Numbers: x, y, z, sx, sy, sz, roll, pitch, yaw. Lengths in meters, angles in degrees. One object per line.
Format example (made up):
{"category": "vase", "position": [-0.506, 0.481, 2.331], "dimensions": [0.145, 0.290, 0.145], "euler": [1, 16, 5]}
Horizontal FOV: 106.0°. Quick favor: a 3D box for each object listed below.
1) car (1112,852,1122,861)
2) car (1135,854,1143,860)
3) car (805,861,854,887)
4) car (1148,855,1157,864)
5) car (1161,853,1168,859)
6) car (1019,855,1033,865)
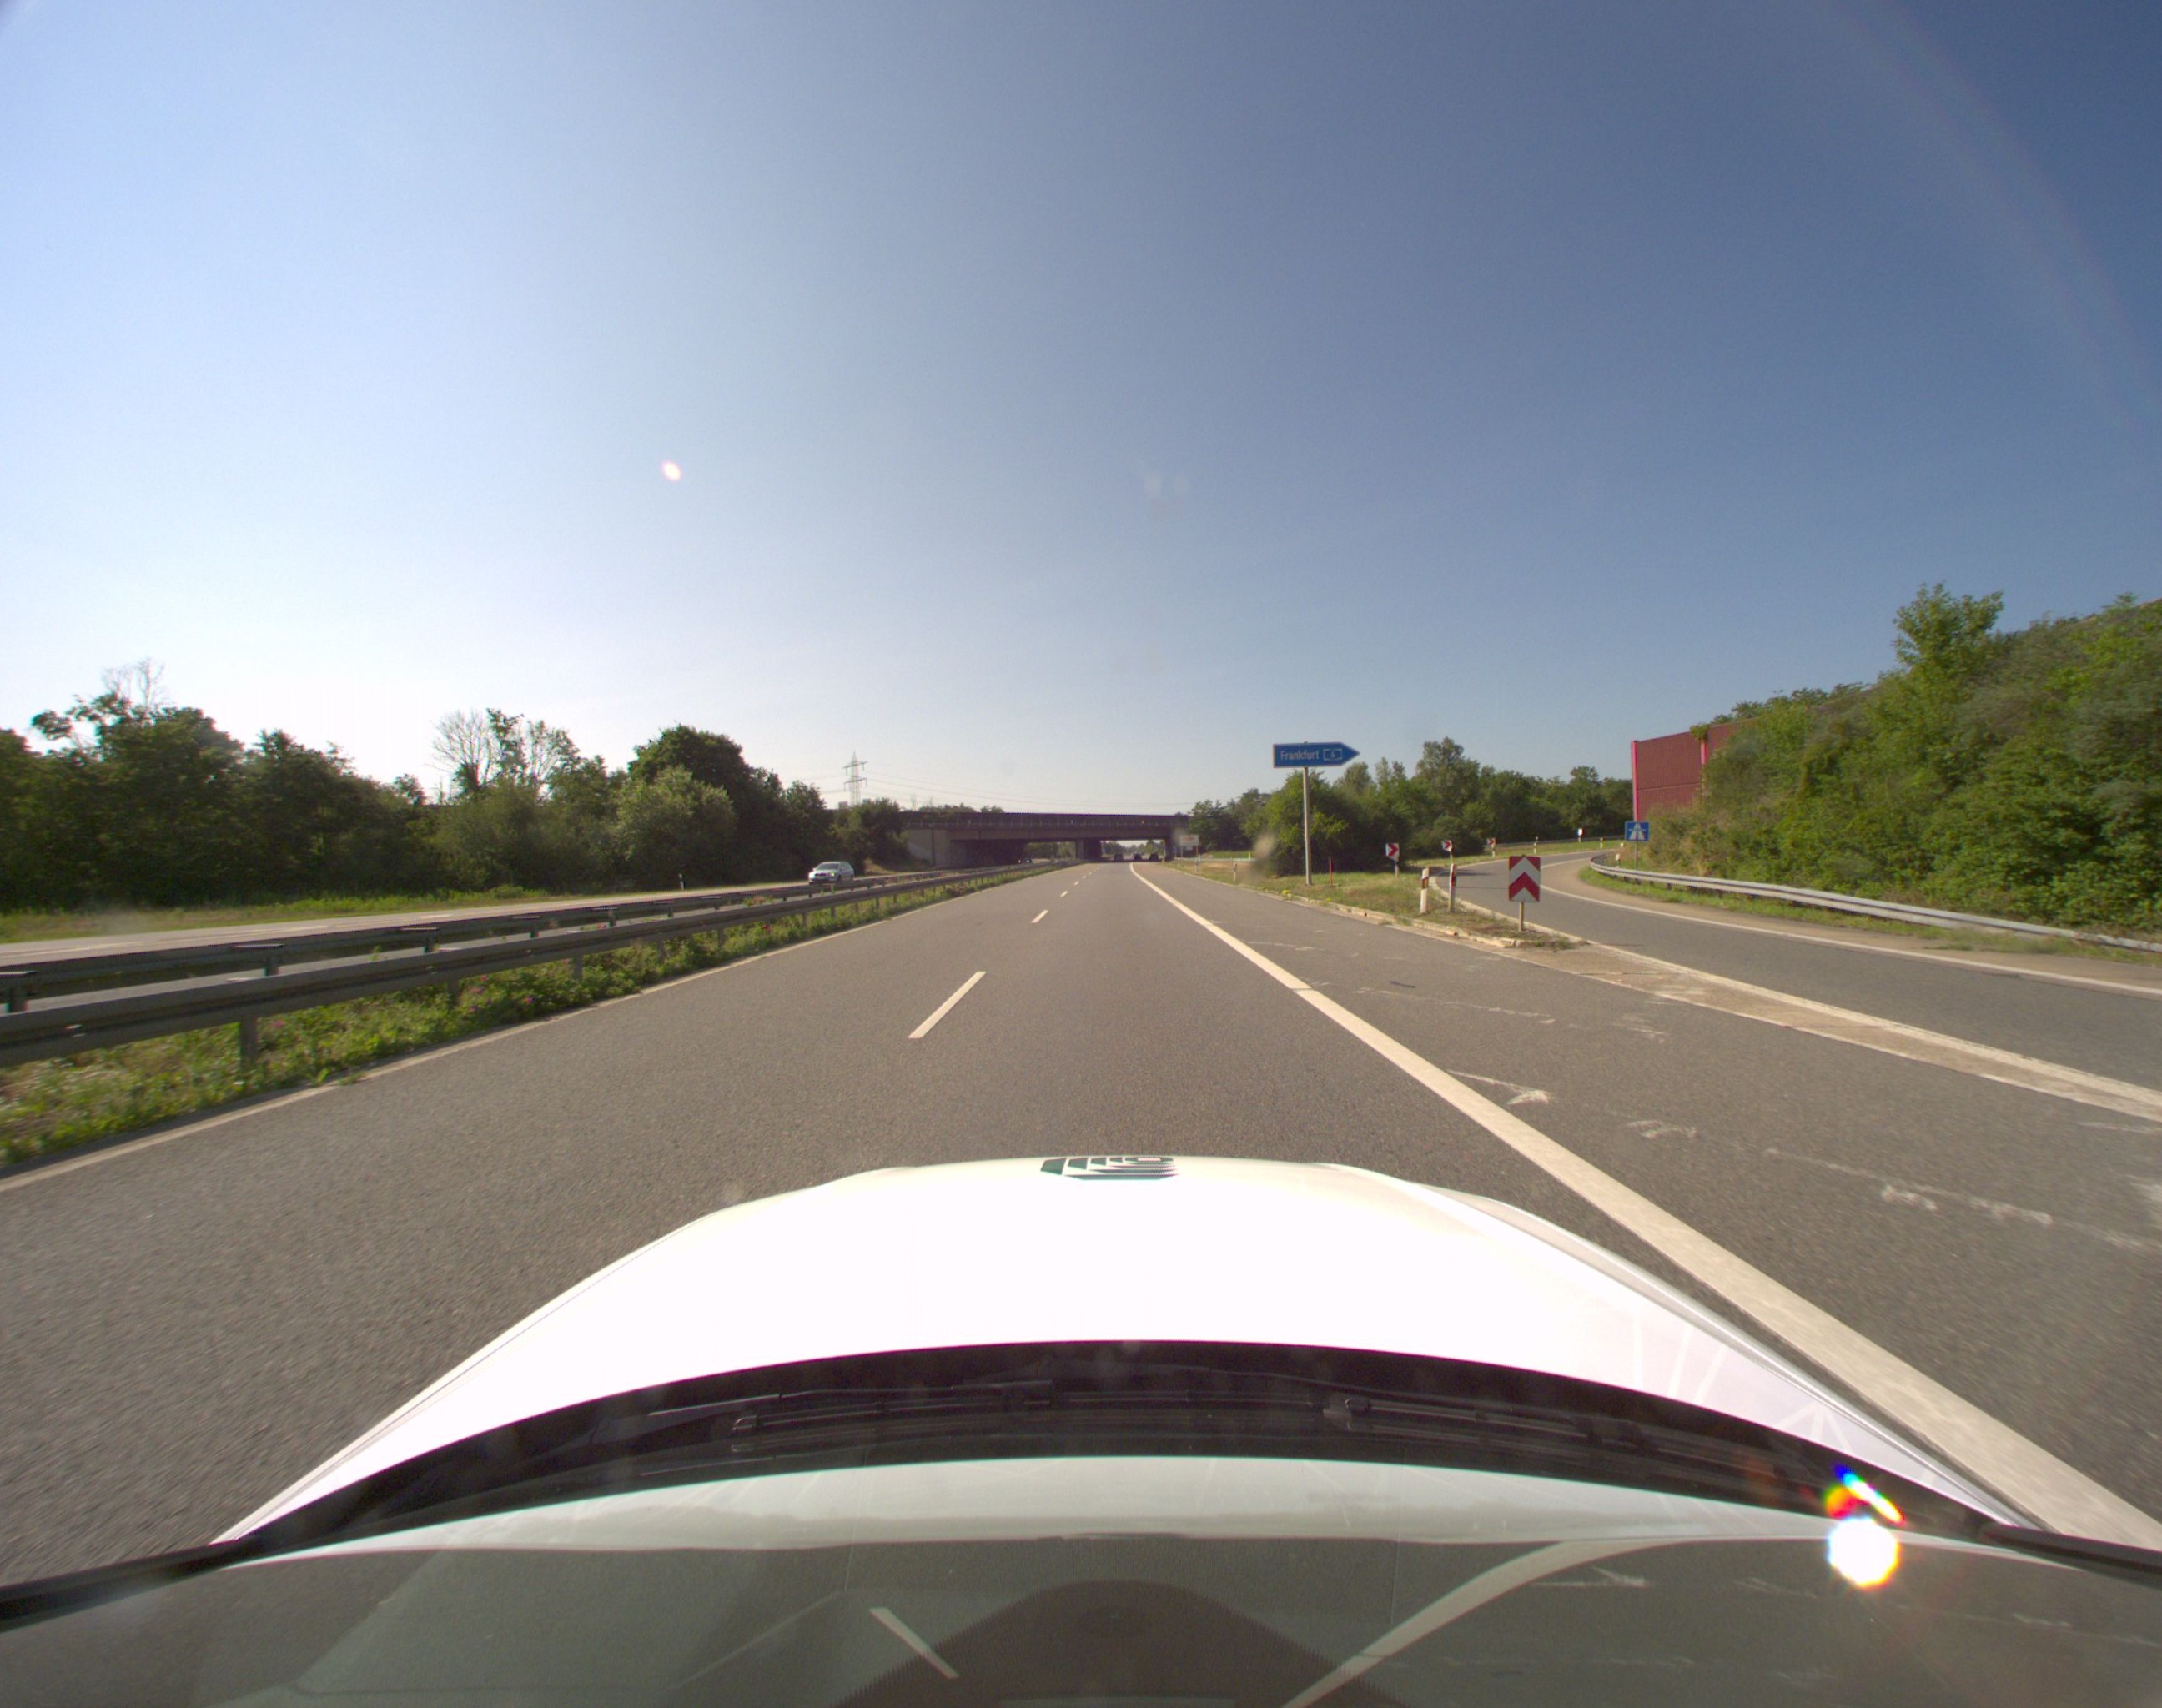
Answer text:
{"category": "car", "position": [6.836, 0.510, 153.111], "dimensions": [1.842, 1.644, 4.003], "euler": [-1, 0, 3]}
{"category": "car", "position": [14.451, 0.737, 201.805], "dimensions": [1.842, 1.644, 4.003], "euler": [-1, 0, 3]}
{"category": "car", "position": [-15.086, 1.161, 49.041], "dimensions": [1.668, 1.409, 3.764], "euler": [0, 0, 1]}
{"category": "car", "position": [14.565, 1.098, 166.039], "dimensions": [1.842, 1.644, 4.003], "euler": [-1, 0, 3]}
{"category": "car", "position": [23.392, 0.675, 227.929], "dimensions": [1.842, 1.644, 4.003], "euler": [-1, 0, 3]}
{"category": "car", "position": [-9.140, 0.967, 134.989], "dimensions": [1.955, 1.409, 3.638], "euler": [-3, 0, 2]}
